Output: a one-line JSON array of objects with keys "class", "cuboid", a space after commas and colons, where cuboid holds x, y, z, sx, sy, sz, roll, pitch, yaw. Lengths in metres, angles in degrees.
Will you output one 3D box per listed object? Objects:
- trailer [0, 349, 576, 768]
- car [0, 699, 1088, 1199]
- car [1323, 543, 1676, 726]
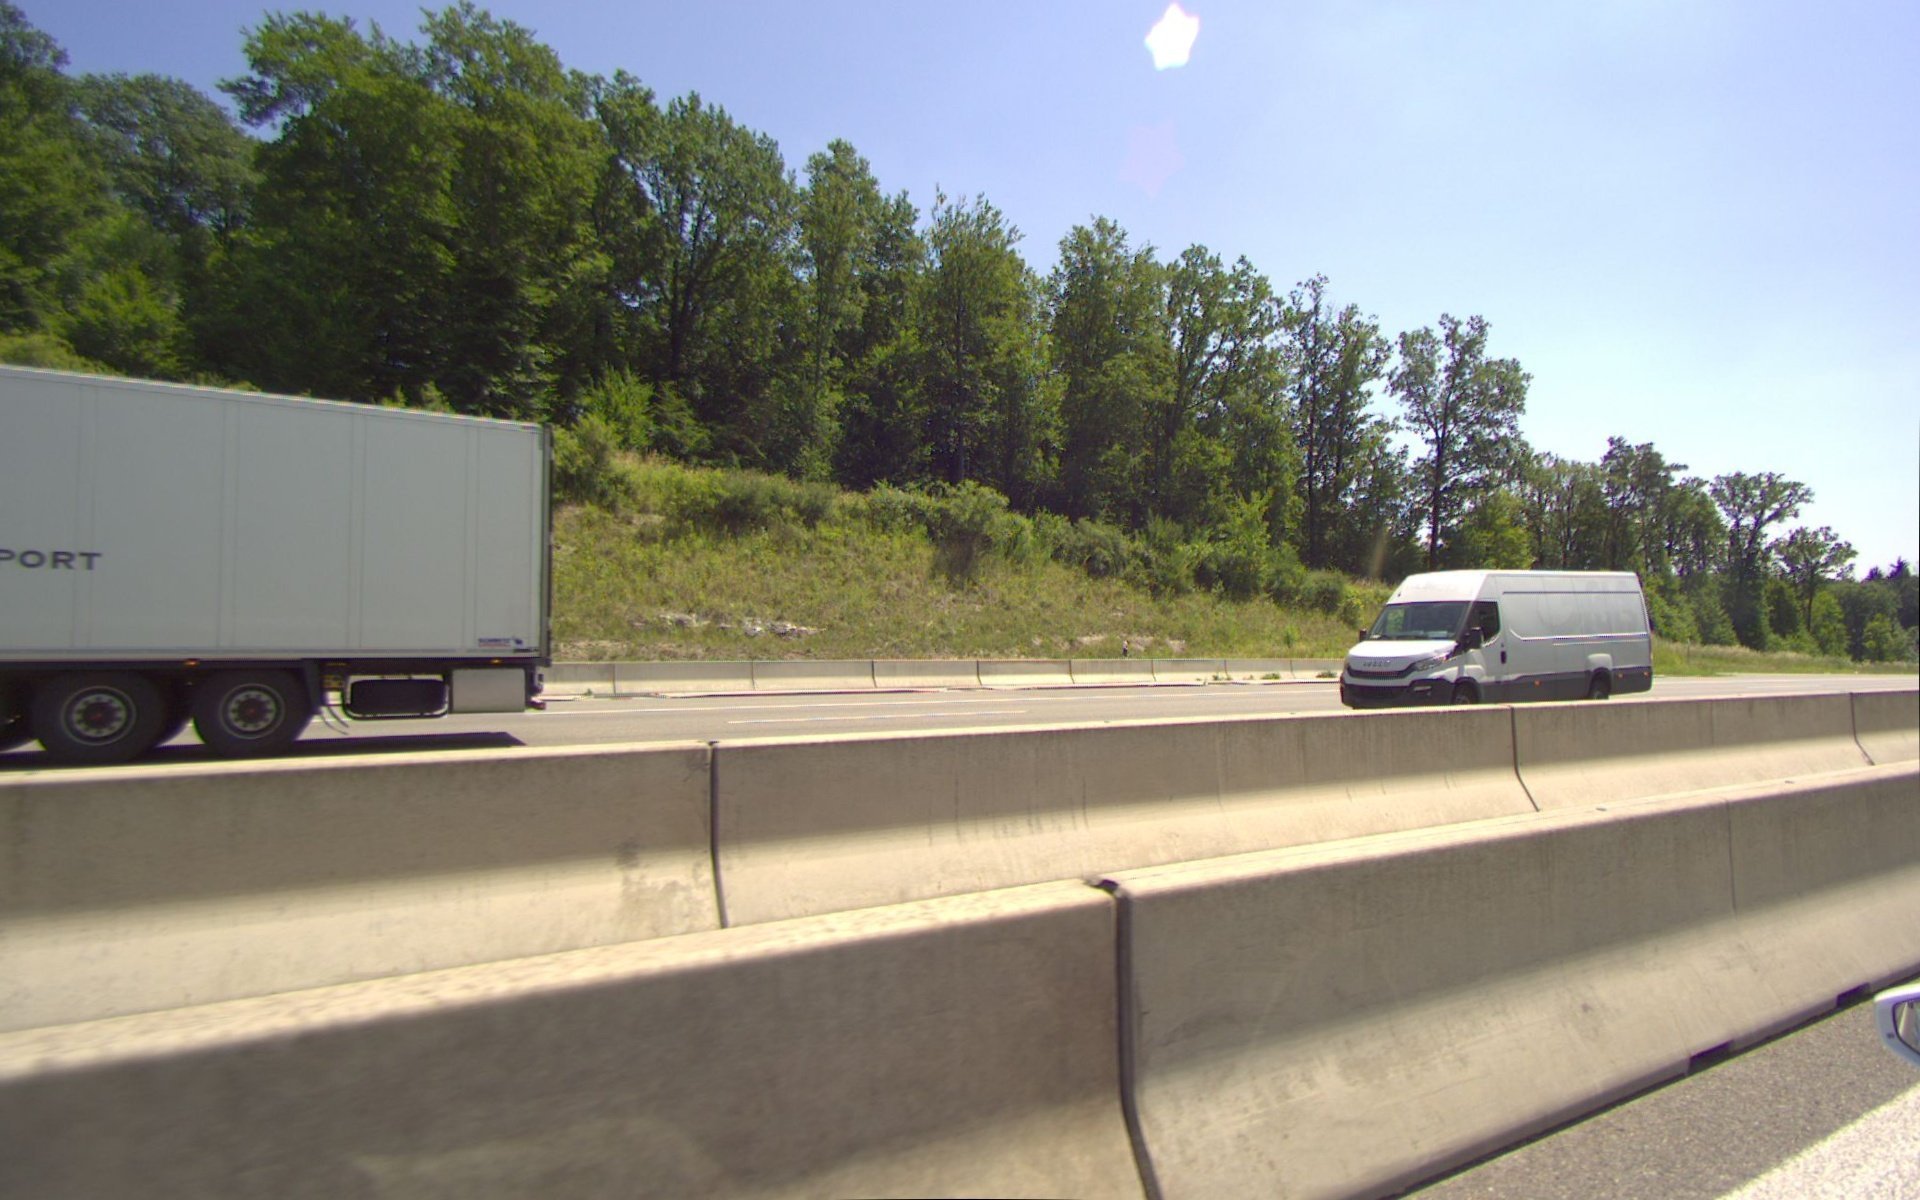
[{"class": "trailer", "cuboid": [-11.444, -0.381, 10.374, 13.681, 4.137, 2.911, 2, -3, -31]}, {"class": "car", "cuboid": [-1.935, 0.916, 0.892, 3.825, 1.400, 1.731, 1, -1, -30]}, {"class": "car", "cuboid": [10.033, 0.689, 18.369, 7.515, 2.836, 2.075, 2, -3, -31]}]
